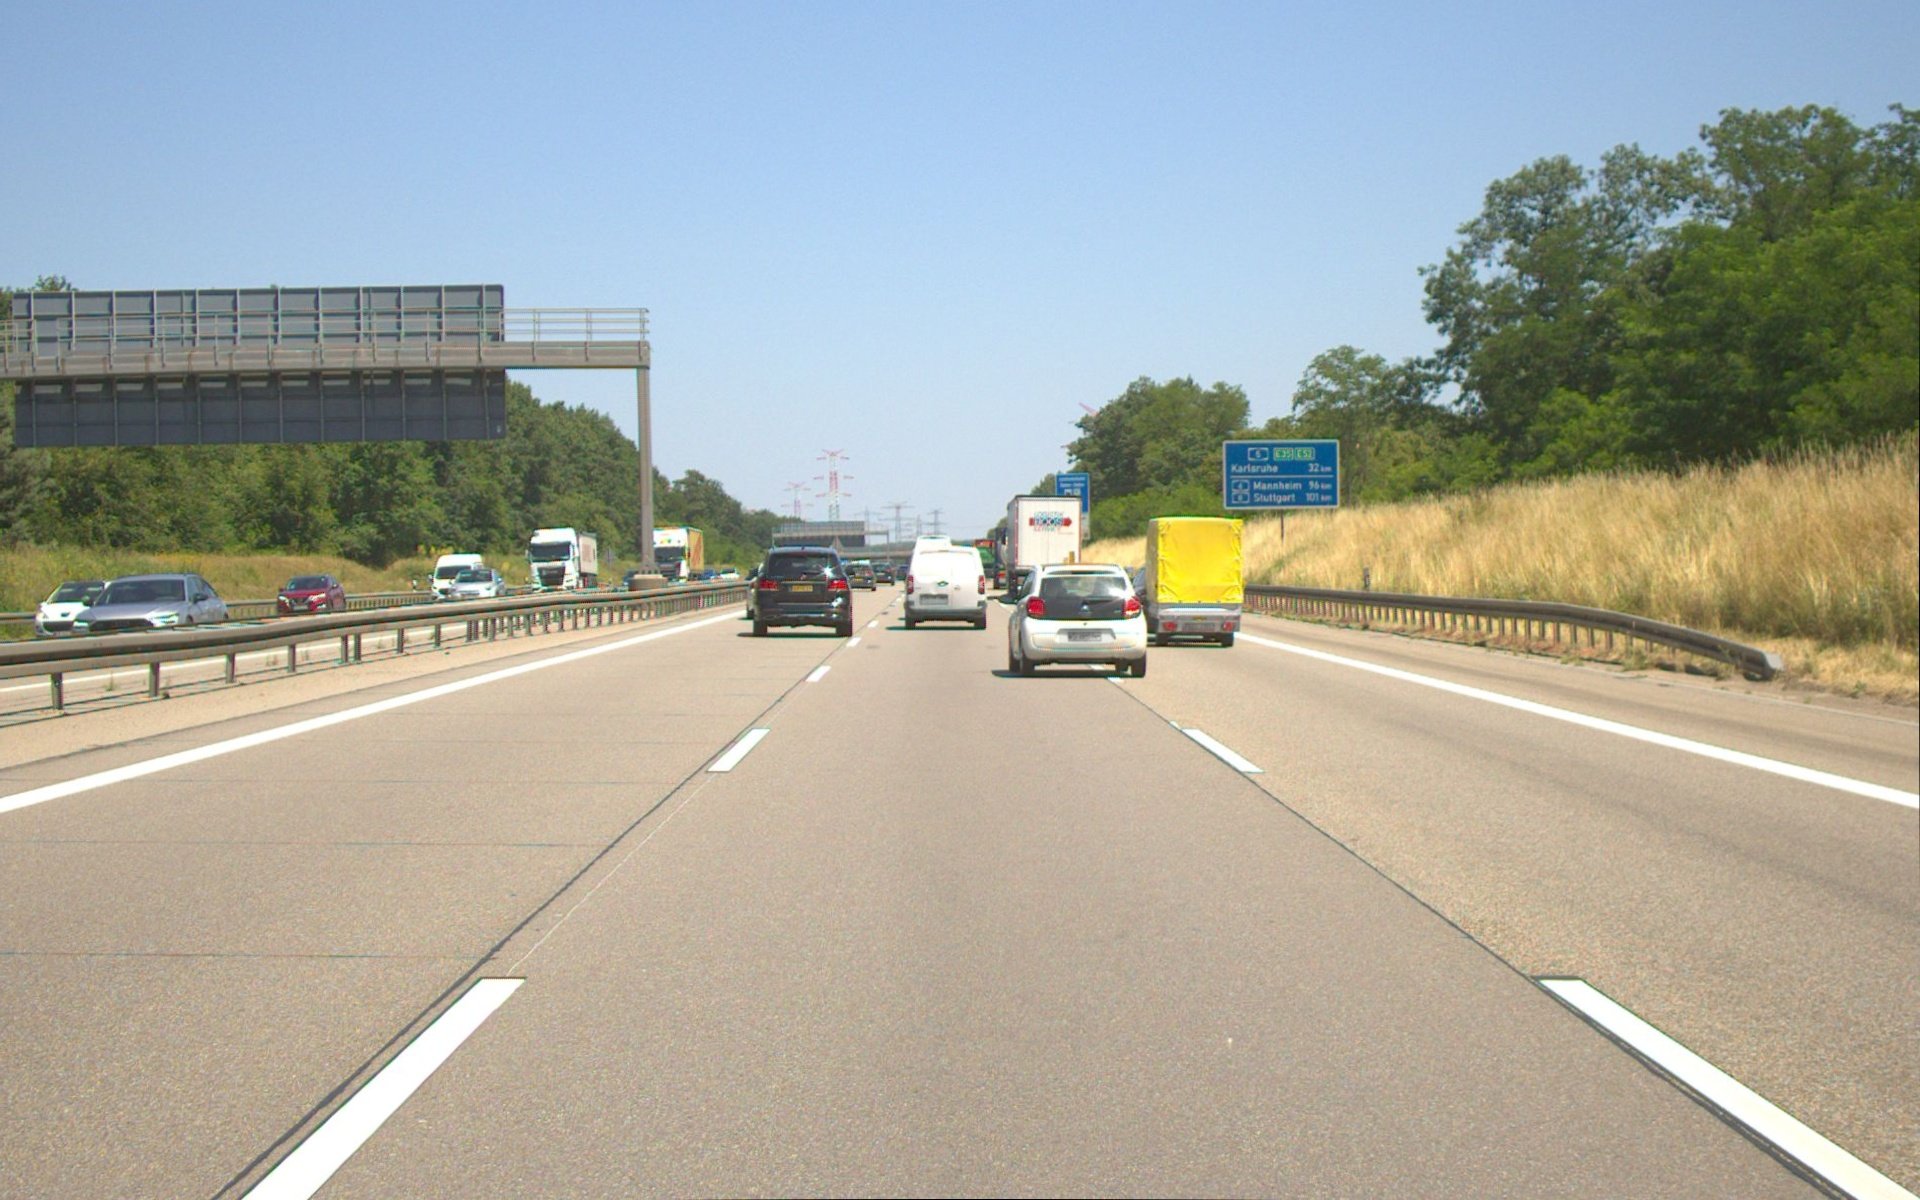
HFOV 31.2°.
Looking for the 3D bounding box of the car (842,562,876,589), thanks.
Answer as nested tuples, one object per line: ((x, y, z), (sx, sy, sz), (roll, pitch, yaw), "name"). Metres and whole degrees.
((-5.062, -1.244, 173.201), (1.607, 1.296, 3.674), (0, 1, 0), "car")

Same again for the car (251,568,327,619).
((-22.756, -0.239, 116.649), (1.646, 1.585, 4.612), (-3, 1, -1), "car")

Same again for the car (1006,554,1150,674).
((1.498, 0.155, 45.006), (1.708, 1.490, 4.024), (0, 1, 0), "car")

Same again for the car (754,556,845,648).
((-3.119, 0.018, 67.486), (1.626, 1.749, 3.805), (0, 1, 0), "car")

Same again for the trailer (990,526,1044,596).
((3.219, -2.205, 197.248), (2.682, 3.824, 12.010), (1, 0, -1), "trailer")

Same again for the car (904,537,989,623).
((-0.319, -0.448, 76.162), (1.814, 1.821, 5.111), (0, 0, -1), "car")

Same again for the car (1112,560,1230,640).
((3.956, -0.022, 65.195), (1.821, 1.451, 4.789), (1, 1, -1), "car")

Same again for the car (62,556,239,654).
((-13.518, 0.044, 57.698), (1.794, 1.469, 4.987), (-3, 1, -1), "car")

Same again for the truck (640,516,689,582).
((-18.839, -3.269, 219.595), (2.464, 4.059, 6.287), (-3, 1, 0), "truck")

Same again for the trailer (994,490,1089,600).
((3.222, -2.157, 139.446), (3.286, 4.205, 13.565), (1, 0, -1), "trailer")

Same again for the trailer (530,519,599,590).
((-23.042, -2.666, 200.900), (2.625, 3.935, 11.158), (-3, 1, 0), "trailer")

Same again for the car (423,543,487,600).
((-22.115, -1.263, 150.705), (1.987, 2.332, 5.810), (-3, 1, -1), "car")

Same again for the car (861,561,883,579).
((-5.688, -1.934, 222.419), (1.405, 1.128, 3.358), (0, 1, 0), "car")

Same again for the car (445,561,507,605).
((-17.733, -0.637, 125.988), (1.646, 1.494, 4.561), (-3, 1, -1), "car")

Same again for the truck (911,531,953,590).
((-1.440, -1.996, 174.309), (2.060, 2.904, 7.003), (0, 0, -1), "truck")

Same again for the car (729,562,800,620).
((-4.917, -0.254, 86.853), (1.669, 1.396, 3.713), (-1, 1, -2), "car")

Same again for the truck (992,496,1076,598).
((3.112, -2.233, 146.409), (3.286, 4.205, 6.008), (1, 0, -1), "truck")

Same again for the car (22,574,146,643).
((-21.331, 0.177, 83.912), (1.794, 1.511, 4.904), (-3, 1, -1), "car")

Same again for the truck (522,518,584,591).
((-23.018, -2.567, 194.672), (2.625, 3.935, 6.483), (-3, 1, 0), "truck")

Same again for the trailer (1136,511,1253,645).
((4.119, -0.401, 60.847), (1.703, 2.282, 3.840), (1, 0, -1), "trailer")
